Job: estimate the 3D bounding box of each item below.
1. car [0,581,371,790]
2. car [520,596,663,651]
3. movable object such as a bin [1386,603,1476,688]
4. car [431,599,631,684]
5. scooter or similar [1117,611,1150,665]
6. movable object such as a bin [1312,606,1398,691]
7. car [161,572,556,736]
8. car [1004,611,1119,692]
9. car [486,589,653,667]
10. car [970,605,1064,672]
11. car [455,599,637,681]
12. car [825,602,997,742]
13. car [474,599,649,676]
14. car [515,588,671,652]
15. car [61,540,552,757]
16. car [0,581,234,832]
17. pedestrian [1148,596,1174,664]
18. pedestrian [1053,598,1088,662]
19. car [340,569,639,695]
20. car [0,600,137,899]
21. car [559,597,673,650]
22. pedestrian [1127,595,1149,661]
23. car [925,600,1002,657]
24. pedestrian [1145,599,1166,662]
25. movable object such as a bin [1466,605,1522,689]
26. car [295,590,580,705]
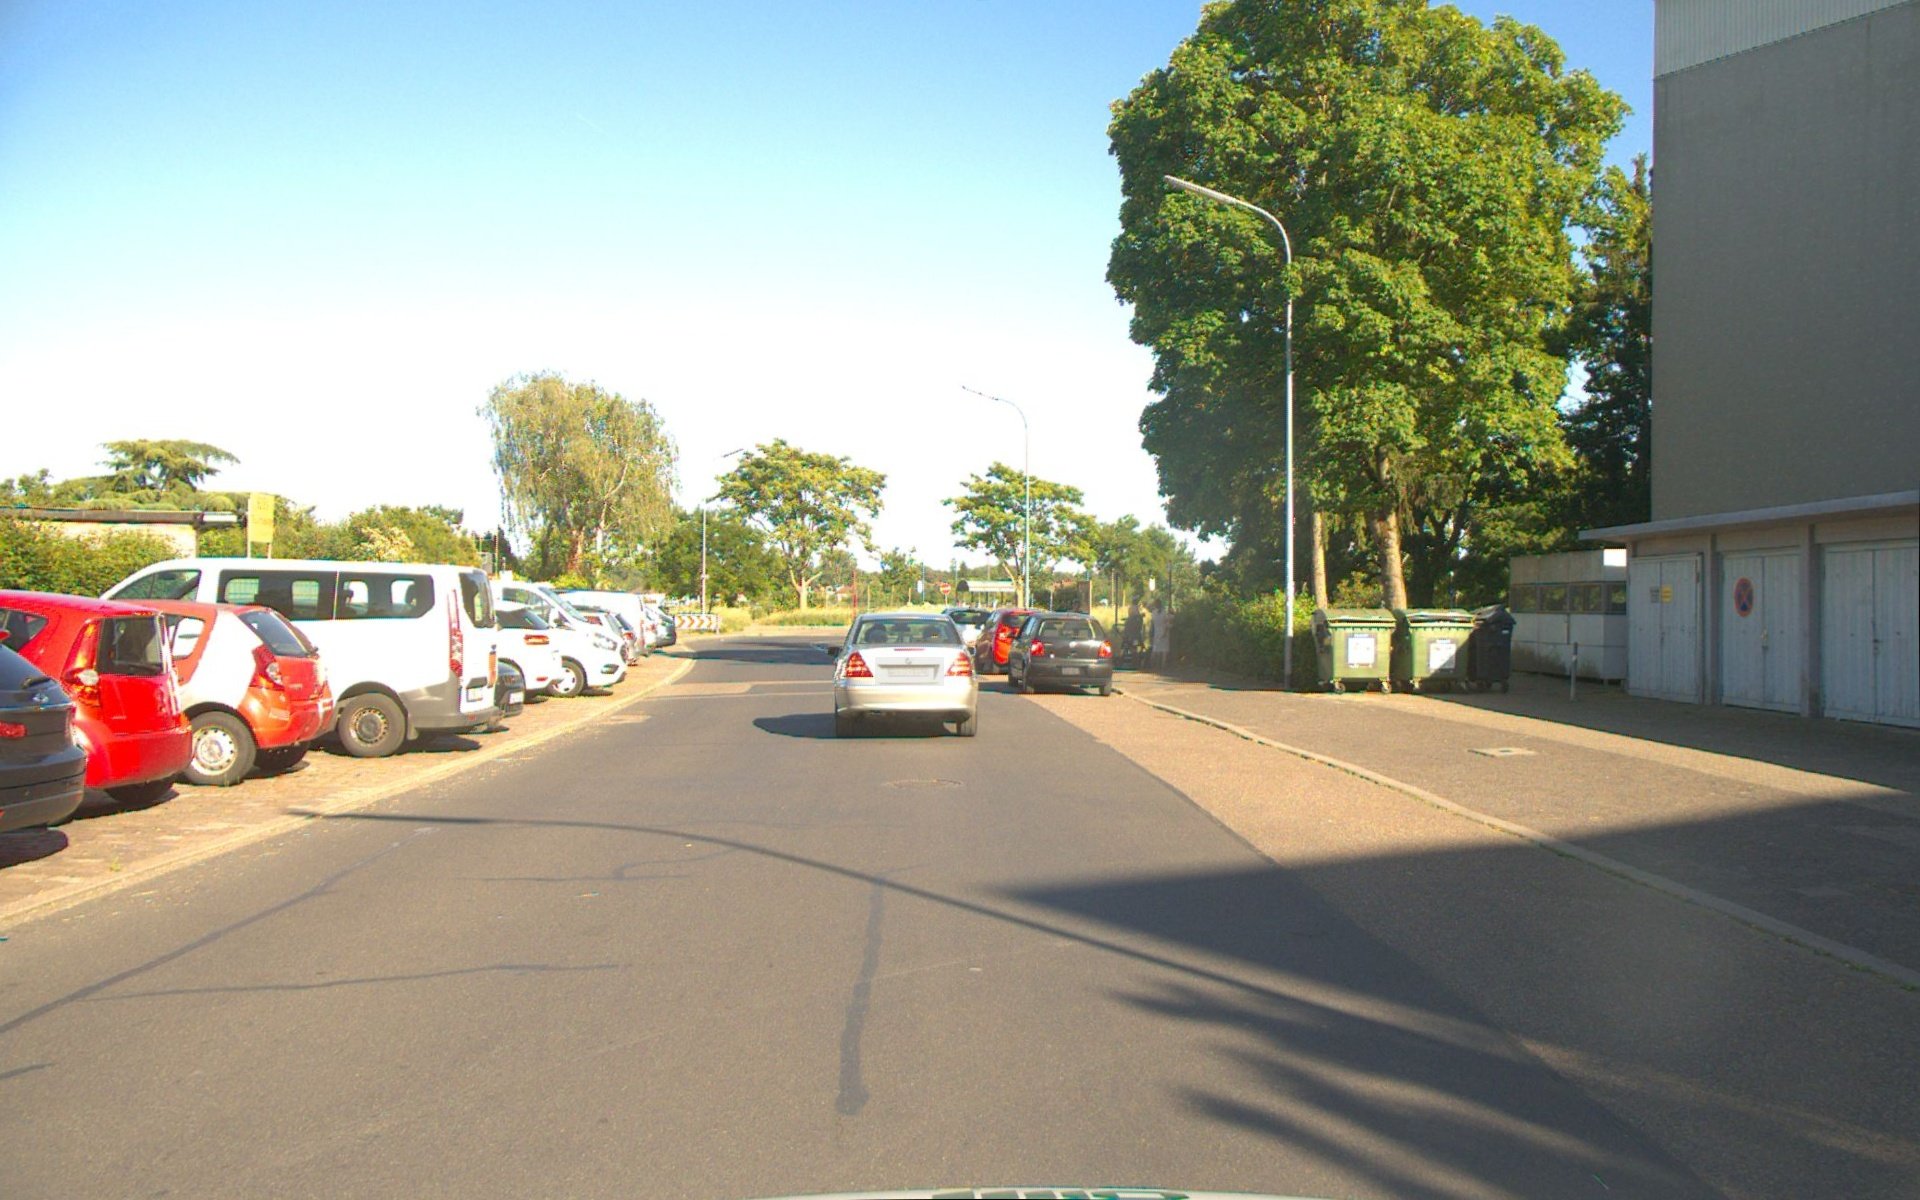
[{"bbox_3d":[-7.327,0.698,14.613,3.529,1.594,1.851,2,0,-2],"label":"car"},{"bbox_3d":[-11.277,0.728,50.881,4.059,1.518,1.922,2,-1,-8],"label":"car"},{"bbox_3d":[8.165,0.787,28.706,1.249,1.440,0.950,1,-1,-5],"label":"movable object such as a bin"},{"bbox_3d":[-8.295,0.802,32.181,3.444,1.472,1.635,3,-1,-4],"label":"car"},{"bbox_3d":[4.105,0.897,39.185,0.611,1.249,0.904,0,-1,-6],"label":"scooter or similar"},{"bbox_3d":[6.819,0.833,28.602,1.213,1.428,0.913,1,-1,-5],"label":"movable object such as a bin"},{"bbox_3d":[-7.237,0.648,20.242,4.068,1.736,1.883,2,-1,-3],"label":"car"},{"bbox_3d":[1.839,0.935,31.051,1.615,1.427,3.877,0,-1,-5],"label":"car"},{"bbox_3d":[-9.776,0.694,41.695,3.904,1.811,1.921,2,0,-10],"label":"car"},{"bbox_3d":[1.271,0.880,38.479,1.546,1.472,3.781,1,-1,-8],"label":"car"},{"bbox_3d":[-8.565,0.821,34.443,3.448,1.515,1.634,2,1,-9],"label":"car"},{"bbox_3d":[-0.711,0.800,20.428,1.781,1.489,4.355,1,0,-6],"label":"car"},{"bbox_3d":[-8.751,0.815,36.541,3.444,1.515,1.635,3,-1,-4],"label":"car"},{"bbox_3d":[-11.790,0.647,53.437,4.784,1.949,1.995,1,-1,-11],"label":"car"},{"bbox_3d":[-6.839,0.518,17.750,4.390,2.011,1.999,2,-1,-3],"label":"car"},{"bbox_3d":[-7.398,0.656,11.822,3.529,1.594,1.880,2,0,-2],"label":"car"},{"bbox_3d":[4.757,0.711,39.149,0.476,1.592,0.468,-1,-2,-10],"label":"pedestrian"},{"bbox_3d":[2.822,0.757,42.276,0.772,1.592,0.569,2,-1,-7],"label":"pedestrian"},{"bbox_3d":[-8.223,0.568,29.300,4.696,1.954,2.079,3,-1,-6],"label":"car"},{"bbox_3d":[-7.206,0.694,9.031,4.455,1.505,1.746,2,0,-5],"label":"car"},{"bbox_3d":[-11.645,0.803,56.144,3.543,1.635,1.730,3,-1,-7],"label":"car"},{"bbox_3d":[4.333,0.689,40.275,0.471,1.592,0.597,-1,-2,4],"label":"pedestrian"},{"bbox_3d":[0.062,0.821,48.362,1.699,1.570,3.781,1,-1,-8],"label":"car"},{"bbox_3d":[4.810,0.746,40.744,0.355,1.529,0.500,-1,-2,-9],"label":"pedestrian"},{"bbox_3d":[9.252,0.809,28.660,0.709,1.440,0.688,1,-1,-5],"label":"movable object such as a bin"},{"bbox_3d":[-8.281,0.747,26.502,3.907,1.610,1.883,2,-1,-3],"label":"car"}]
